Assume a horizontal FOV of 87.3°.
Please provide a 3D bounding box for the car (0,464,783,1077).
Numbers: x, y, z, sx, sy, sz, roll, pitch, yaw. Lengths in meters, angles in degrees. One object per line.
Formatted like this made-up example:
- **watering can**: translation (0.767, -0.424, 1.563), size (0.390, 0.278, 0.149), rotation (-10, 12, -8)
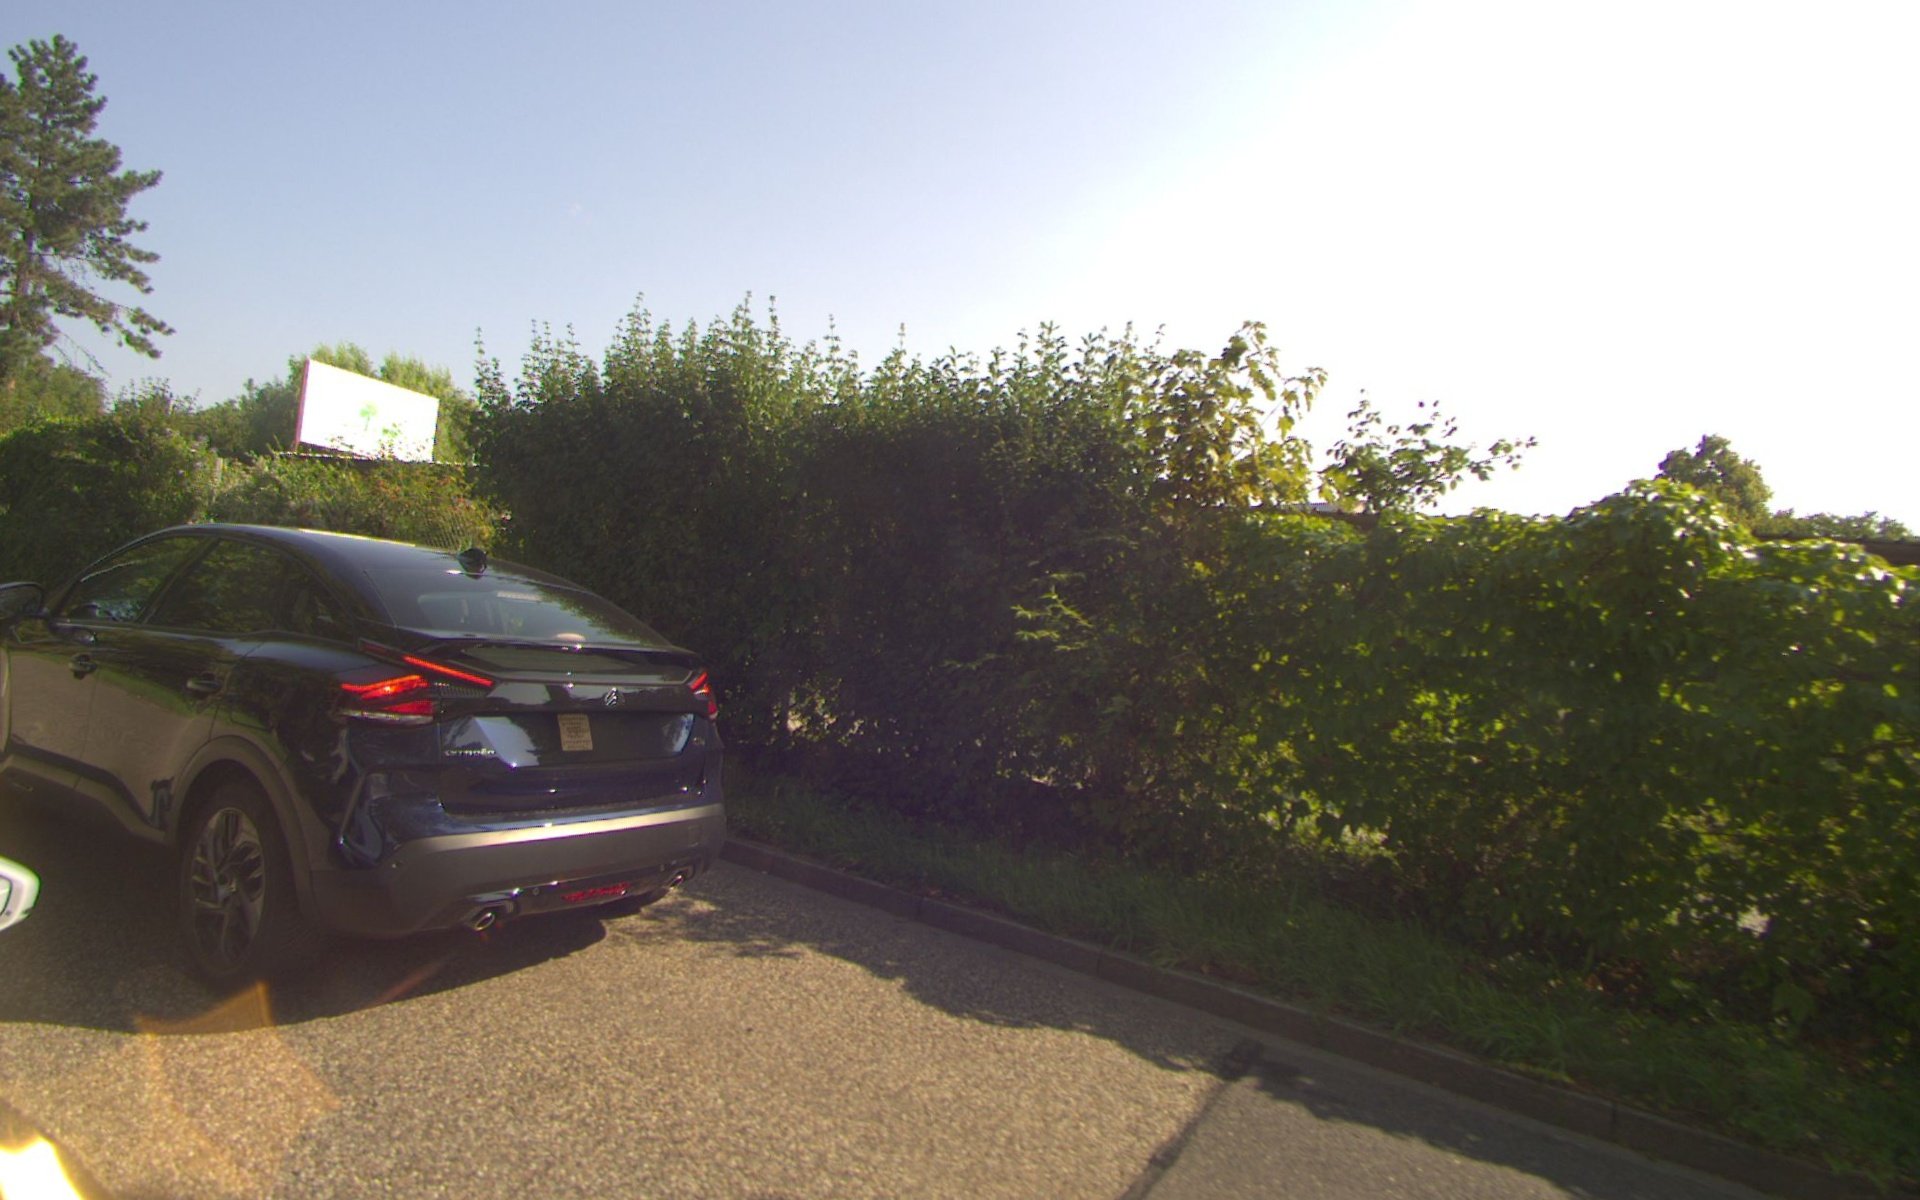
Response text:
- **car**: translation (-3.014, 0.372, 4.566), size (4.184, 1.607, 1.647), rotation (7, -1, 32)
